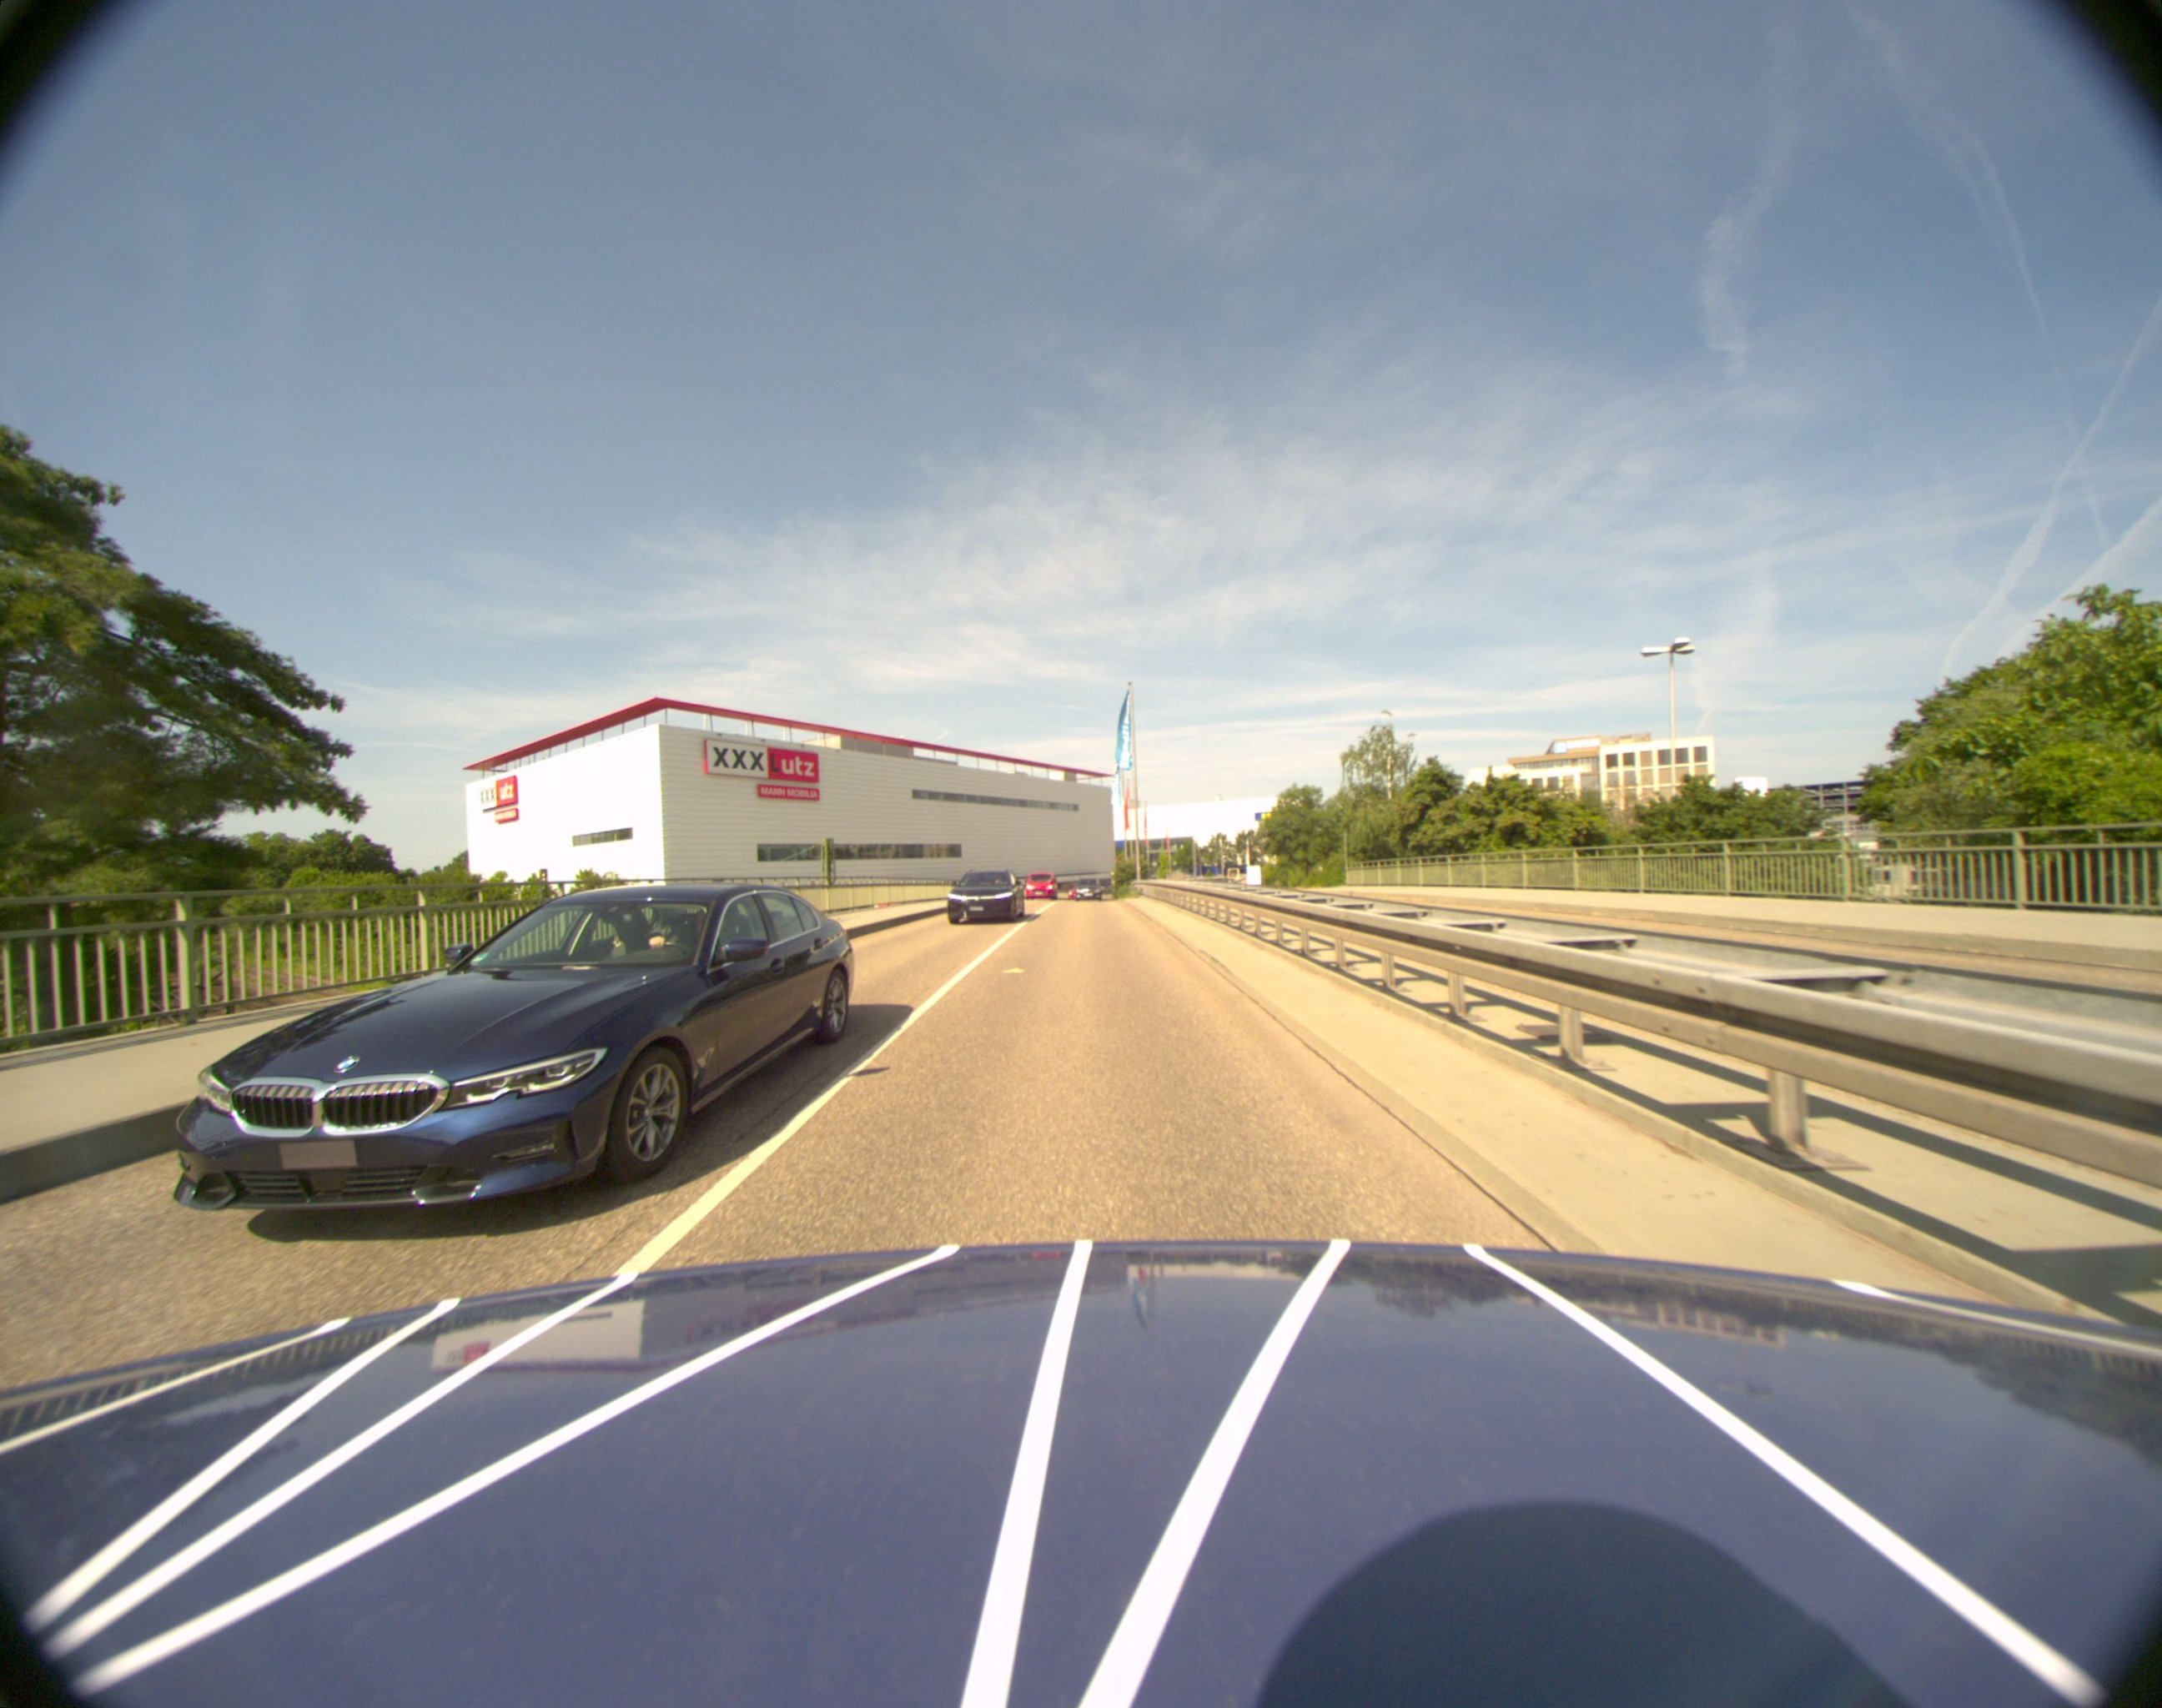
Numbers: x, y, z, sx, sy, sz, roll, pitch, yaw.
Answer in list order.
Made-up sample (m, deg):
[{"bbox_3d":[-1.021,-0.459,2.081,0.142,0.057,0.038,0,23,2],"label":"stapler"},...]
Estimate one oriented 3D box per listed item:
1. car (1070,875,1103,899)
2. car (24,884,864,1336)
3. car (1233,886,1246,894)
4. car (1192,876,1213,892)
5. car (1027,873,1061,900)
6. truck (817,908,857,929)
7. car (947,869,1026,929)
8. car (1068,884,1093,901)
[{"bbox_3d":[0.398,2.074,47.985,1.849,1.409,4.002,0,-1,4],"label":"car"},{"bbox_3d":[-3.019,1.043,5.098,1.792,1.474,4.520,-2,0,0],"label":"car"},{"bbox_3d":[32.833,7.384,157.086,1.822,1.465,4.006,-2,0,23],"label":"car"},{"bbox_3d":[12.795,3.188,79.900,1.884,1.625,4.230,0,-2,13],"label":"car"},{"bbox_3d":[-2.573,2.332,54.342,1.987,1.895,4.147,0,-3,3],"label":"car"},{"bbox_3d":[-35.834,9.491,111.518,5.996,2.909,2.136,-3,-1,33],"label":"truck"},{"bbox_3d":[-2.692,1.248,22.527,1.861,1.520,4.144,-3,-1,-2],"label":"car"},{"bbox_3d":[-0.027,3.806,75.402,1.776,1.648,4.148,-1,-2,9],"label":"car"}]
